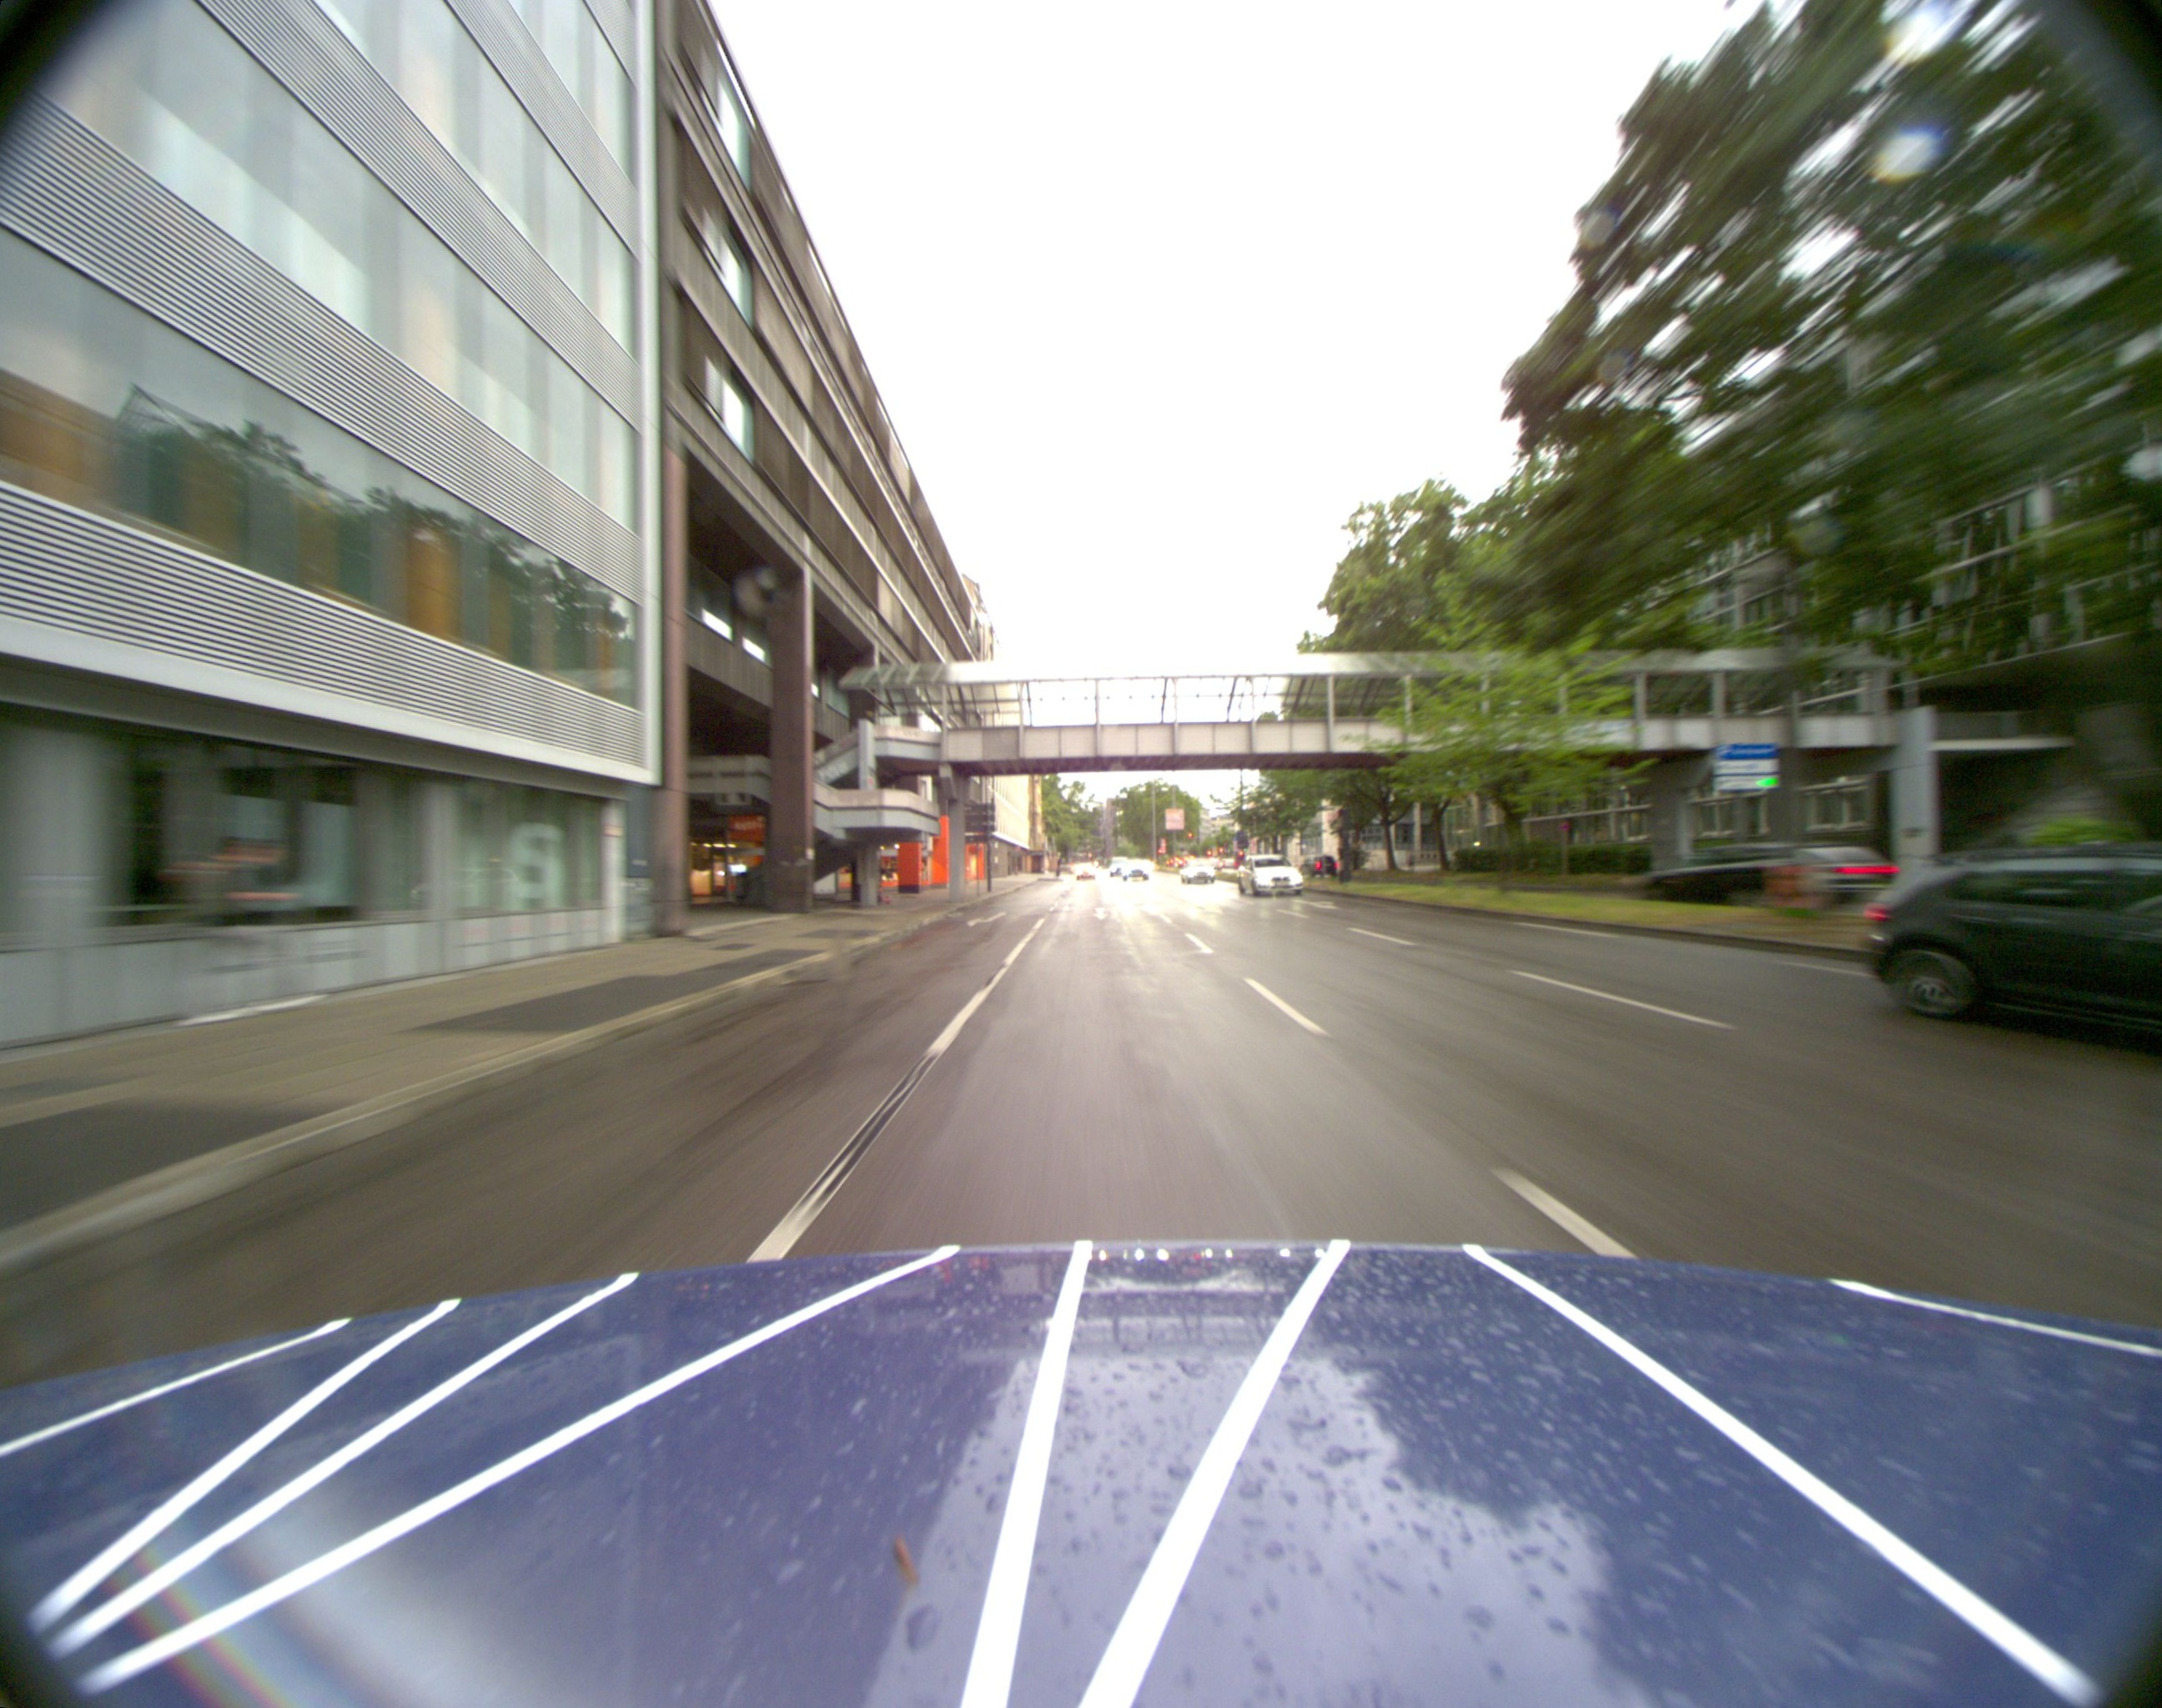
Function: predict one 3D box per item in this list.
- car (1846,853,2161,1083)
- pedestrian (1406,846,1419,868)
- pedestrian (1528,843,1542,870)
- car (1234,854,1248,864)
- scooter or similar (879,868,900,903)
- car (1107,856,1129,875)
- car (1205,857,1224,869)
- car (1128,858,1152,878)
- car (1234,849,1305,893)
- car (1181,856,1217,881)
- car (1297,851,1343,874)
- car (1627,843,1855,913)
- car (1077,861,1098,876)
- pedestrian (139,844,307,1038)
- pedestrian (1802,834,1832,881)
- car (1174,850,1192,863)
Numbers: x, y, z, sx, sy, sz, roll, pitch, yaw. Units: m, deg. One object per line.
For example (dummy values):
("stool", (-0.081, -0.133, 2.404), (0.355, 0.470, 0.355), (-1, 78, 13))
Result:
("car", (7.925, 0.743, 4.860), (1.789, 1.444, 4.122), (-2, 0, -3))
("pedestrian", (27.902, 0.227, 64.011), (0.736, 1.797, 0.802), (-2, 0, 1))
("pedestrian", (28.495, 0.173, 47.680), (0.561, 1.676, 0.511), (-2, 0, 1))
("car", (23.483, 0.760, 111.491), (1.595, 1.407, 3.402), (-1, 1, 5))
("scooter or similar", (-7.111, 1.143, 28.256), (0.350, 1.248, 1.394), (-2, 0, 1))
("car", (3.570, 1.139, 73.742), (1.998, 1.733, 3.910), (-2, 0, 2))
("car", (17.316, 1.126, 98.469), (1.666, 1.455, 4.080), (1, 0, -1))
("car", (4.493, 1.031, 58.166), (1.716, 1.432, 3.495), (0, 0, 4))
("car", (7.360, 0.613, 30.024), (1.781, 1.587, 3.999), (-2, 1, 0))
("car", (7.381, 0.876, 47.716), (1.612, 1.433, 3.493), (-3, 0, -1))
("car", (19.479, 0.669, 62.211), (2.005, 1.758, 5.184), (2, 0, -1))
("car", (13.973, 0.442, 16.392), (1.628, 1.304, 3.616), (-1, 1, -4))
("car", (0.607, 1.276, 66.952), (1.716, 1.274, 3.494), (-1, 0, 2))
("pedestrian", (-8.216, 0.793, 7.316), (0.637, 1.762, 0.789), (-1, 1, 1))
("pedestrian", (28.756, 0.143, 29.685), (0.607, 1.797, 0.511), (-2, 0, 1))
("car", (13.848, 0.325, 103.491), (1.878, 1.670, 4.680), (-1, 1, 1))
